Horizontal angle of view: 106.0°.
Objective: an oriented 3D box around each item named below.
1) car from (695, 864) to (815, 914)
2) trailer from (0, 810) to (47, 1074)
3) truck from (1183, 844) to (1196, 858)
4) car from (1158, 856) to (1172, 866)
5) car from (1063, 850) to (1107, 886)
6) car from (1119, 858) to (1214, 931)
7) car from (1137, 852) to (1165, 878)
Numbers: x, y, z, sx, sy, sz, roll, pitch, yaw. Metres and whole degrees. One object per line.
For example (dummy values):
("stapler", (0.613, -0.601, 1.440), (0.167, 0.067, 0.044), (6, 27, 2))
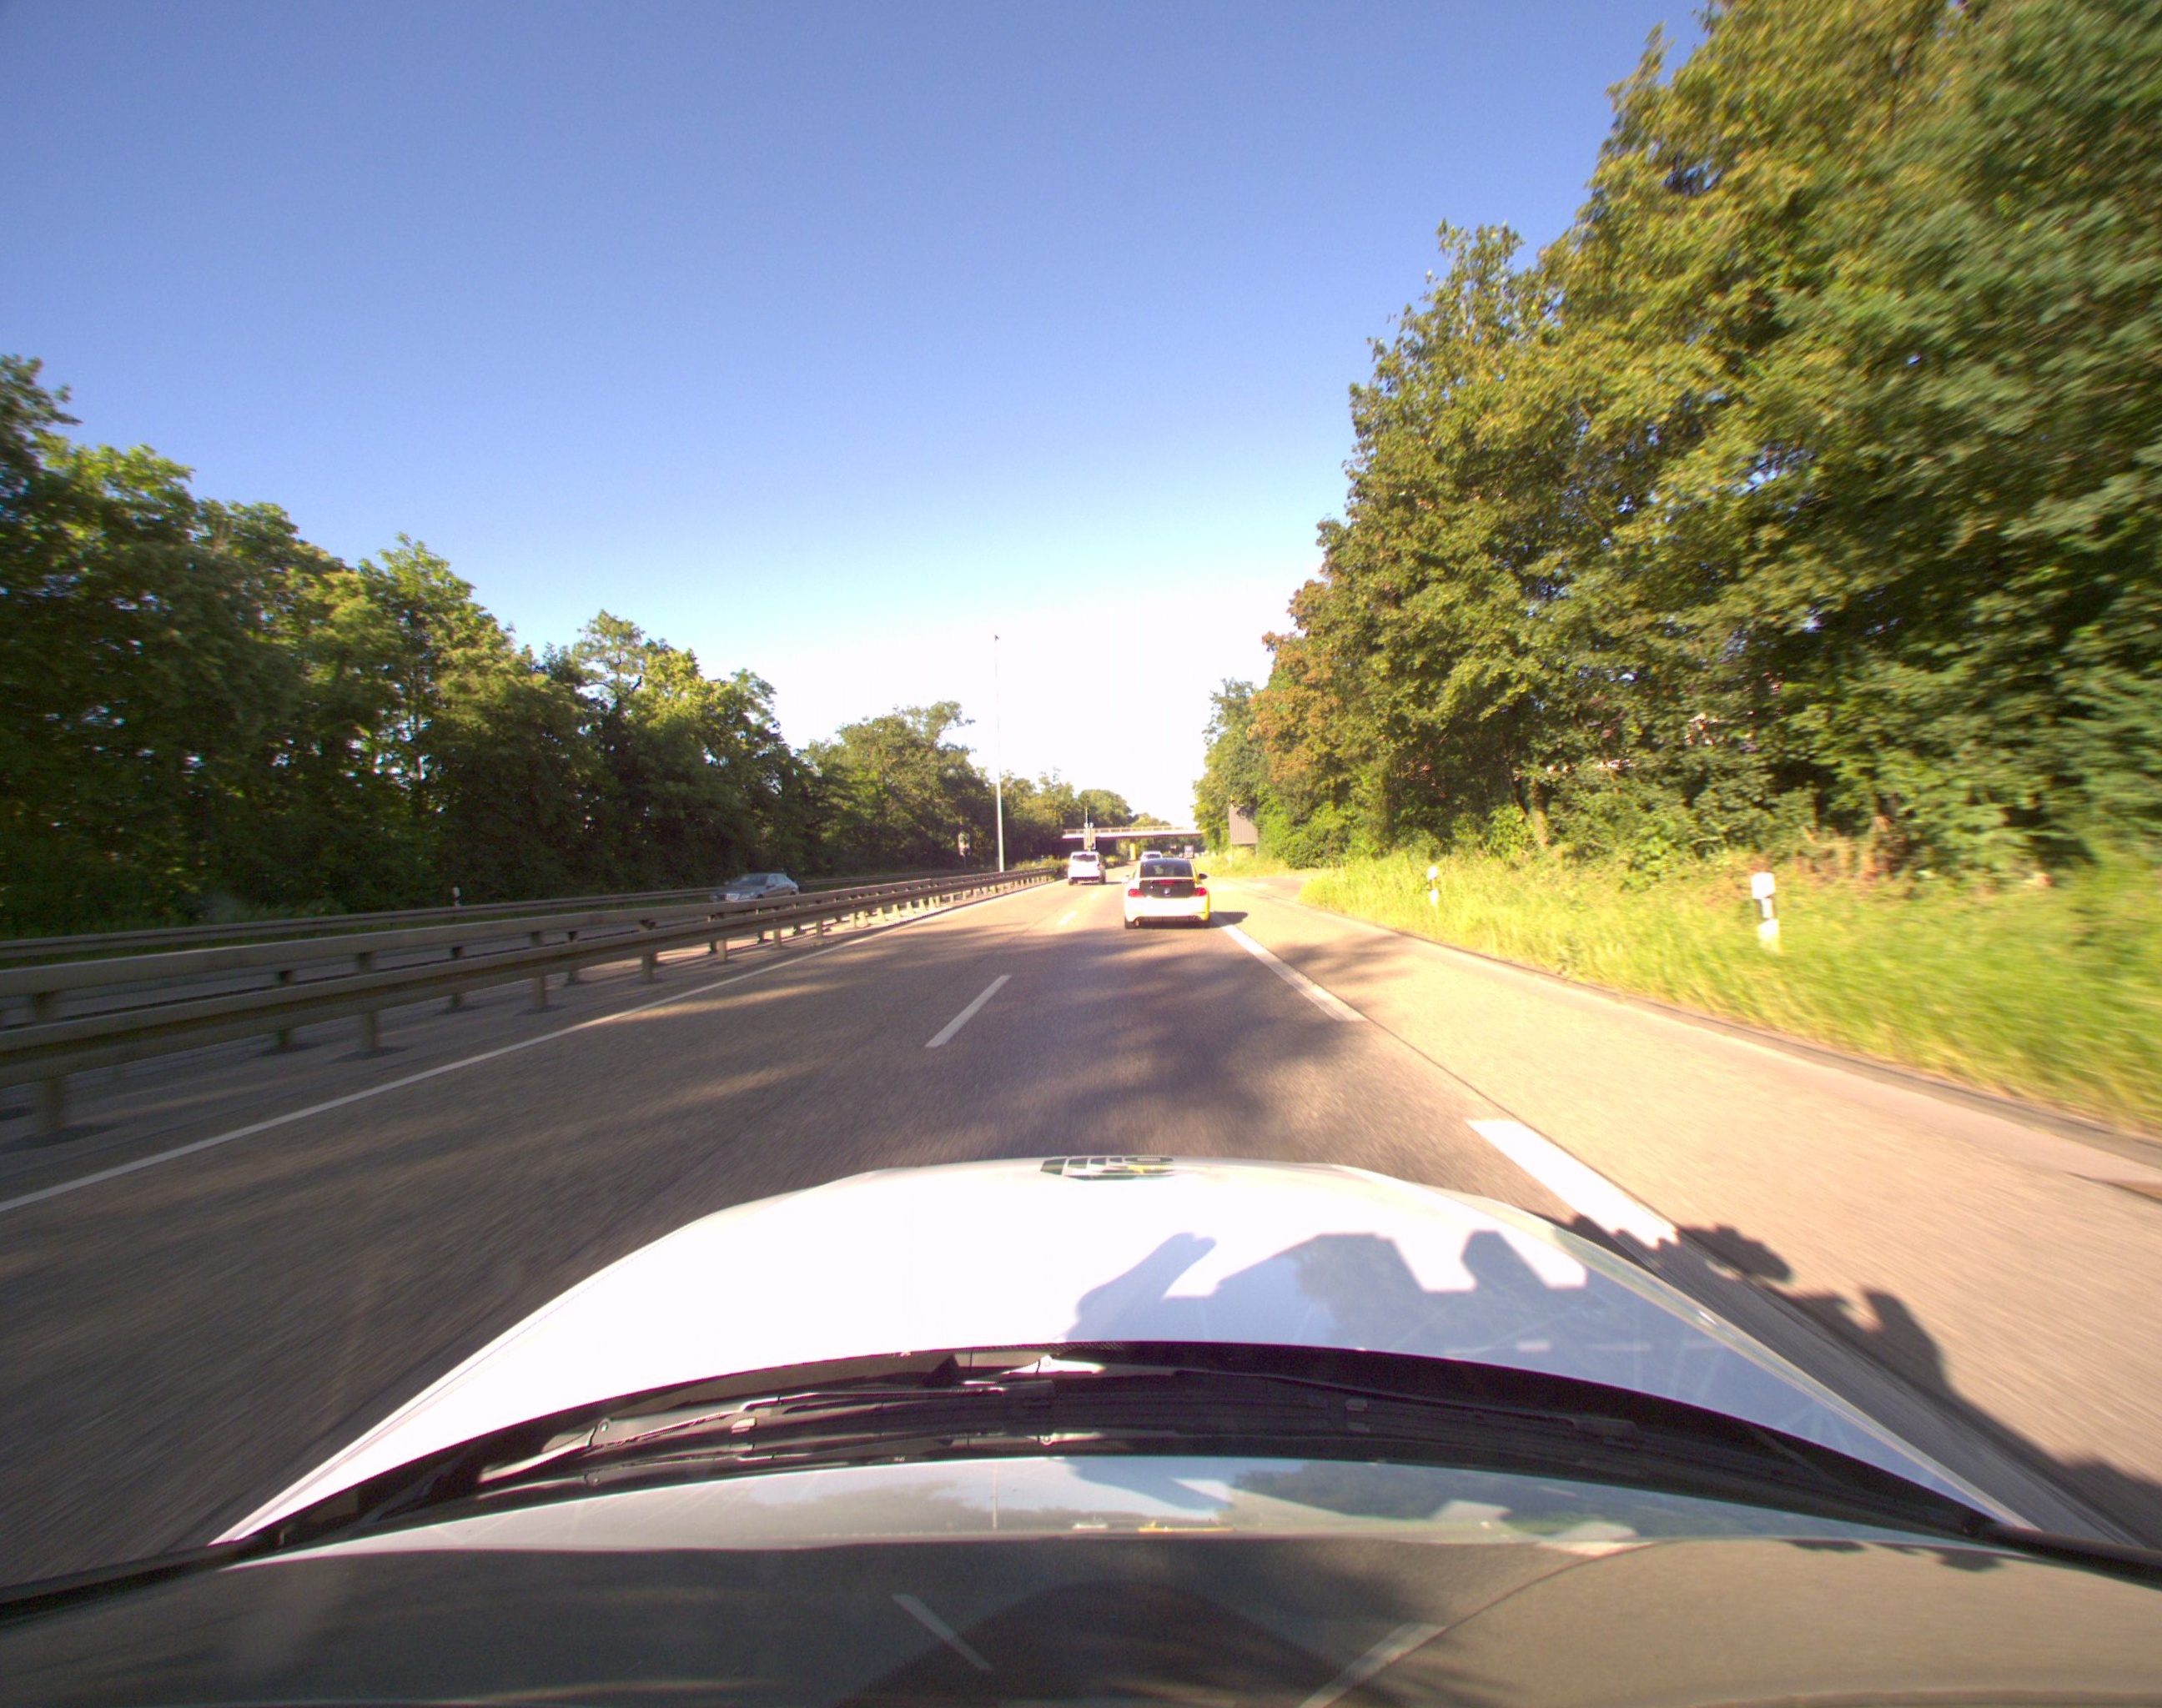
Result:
("car", (-12.908, 1.330, 32.806), (2.110, 1.725, 5.882), (-1, 0, 4))
("trailer", (-10.995, 0.840, 5.516), (1.987, 2.437, 4.607), (-2, 0, 1))
("truck", (33.817, -0.866, 253.445), (3.475, 4.173, 8.884), (-2, -1, 9))
("car", (13.034, 1.048, 126.136), (1.982, 1.398, 4.010), (-2, 0, 9))
("car", (0.285, 0.742, 44.707), (2.076, 1.828, 4.004), (-2, 0, 4))
("car", (1.856, 0.819, 18.394), (1.871, 1.461, 4.360), (0, 0, 4))
("car", (5.011, 0.781, 58.767), (1.856, 1.770, 4.473), (-2, 0, 3))
